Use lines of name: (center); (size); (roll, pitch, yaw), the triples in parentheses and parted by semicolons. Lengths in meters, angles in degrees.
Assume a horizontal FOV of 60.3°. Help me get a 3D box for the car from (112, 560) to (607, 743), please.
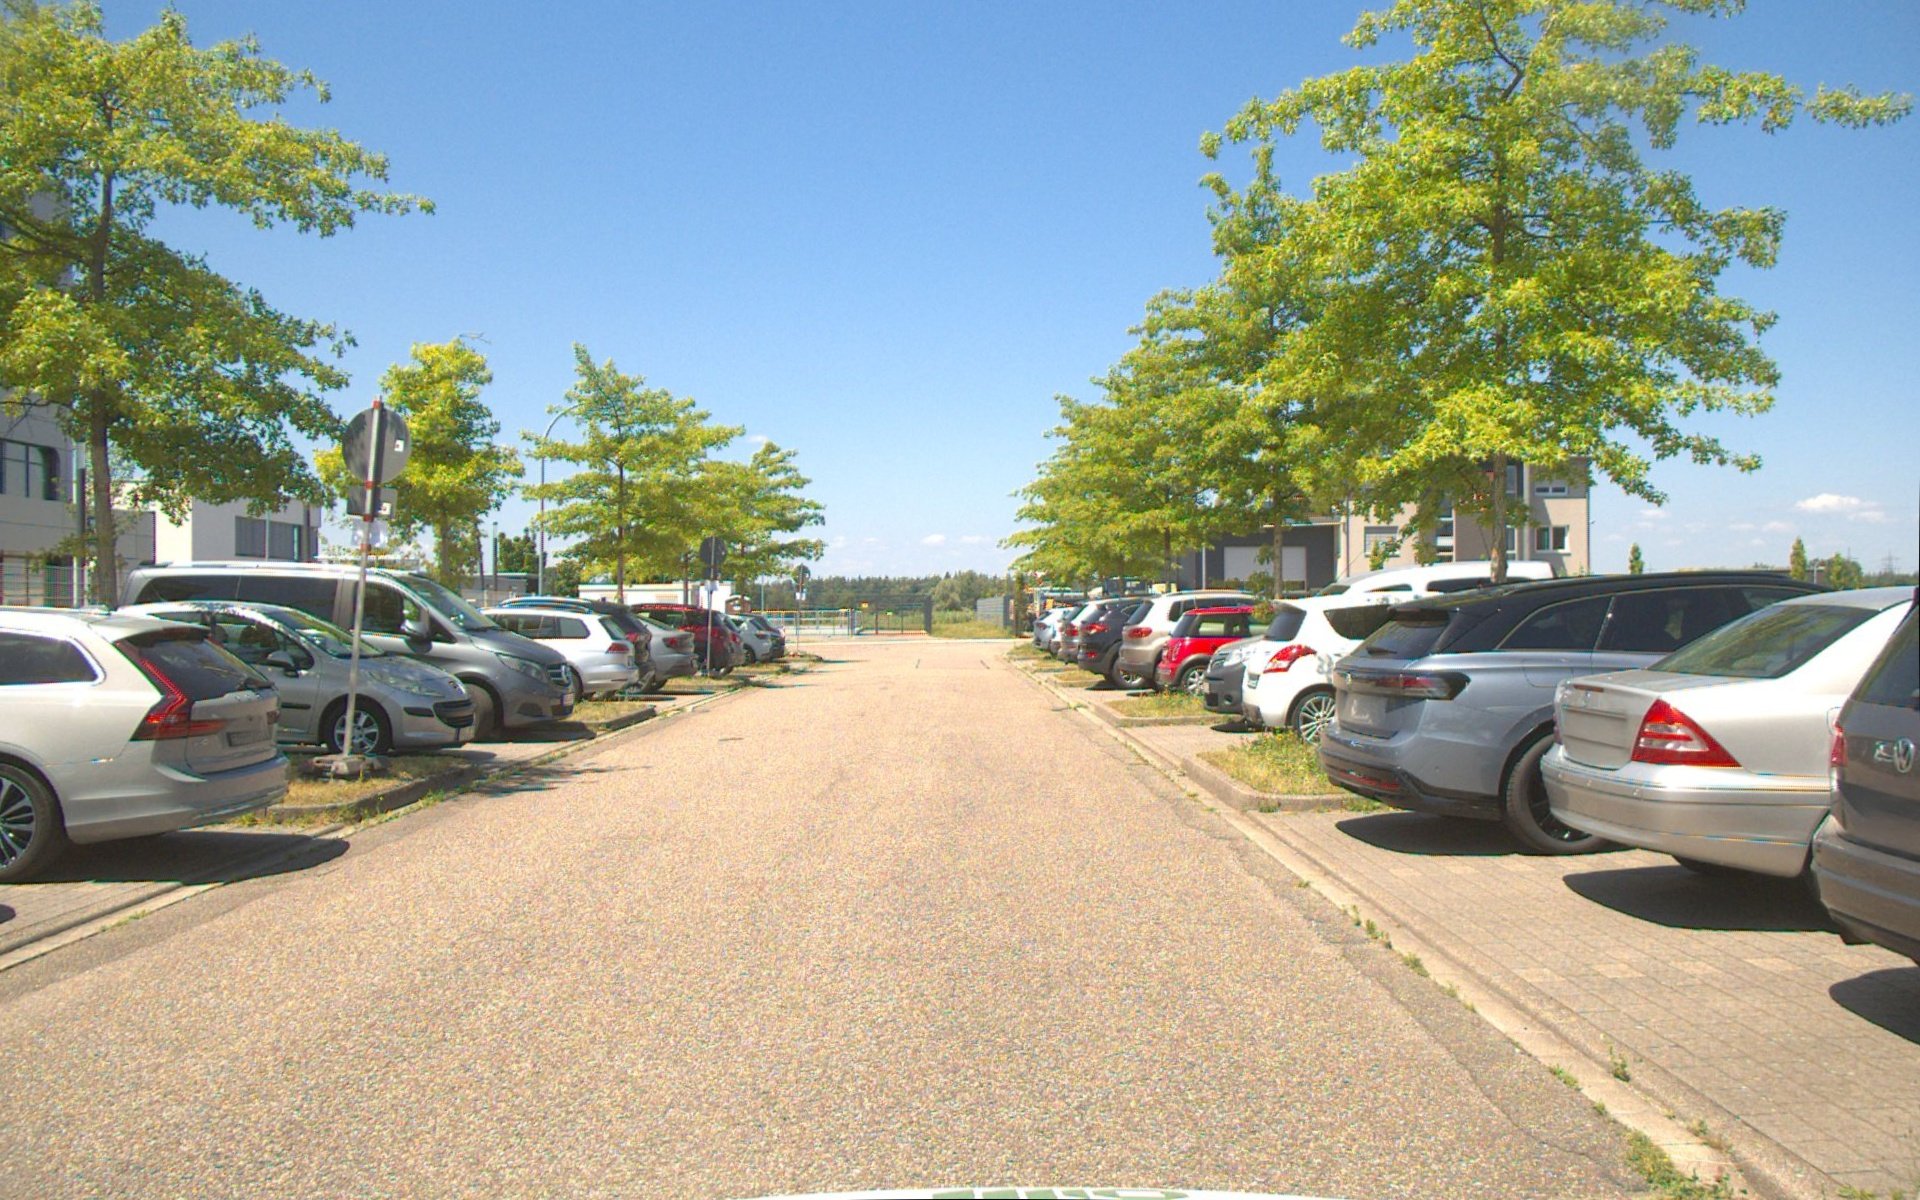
car: (-6.810, 0.567, 19.171); (4.965, 1.925, 1.997); (1, 0, 0)

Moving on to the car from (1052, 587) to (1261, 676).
car: (4.355, 0.689, 37.131); (4.360, 1.799, 1.992); (-2, 0, -3)

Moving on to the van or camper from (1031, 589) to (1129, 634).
van or camper: (6.125, 0.566, 84.823); (4.836, 2.201, 2.000); (-1, 1, -2)

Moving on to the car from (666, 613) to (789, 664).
car: (-7.096, 1.175, 50.791); (3.554, 1.461, 1.725); (2, -1, -4)

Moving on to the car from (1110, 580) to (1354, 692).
car: (4.565, 0.591, 28.118); (3.796, 1.707, 1.782); (-2, -1, -1)

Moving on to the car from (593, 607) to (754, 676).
car: (-6.743, 0.966, 39.221); (3.585, 1.535, 1.729); (1, -1, -5)

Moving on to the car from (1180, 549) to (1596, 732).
car: (4.856, 0.455, 19.210); (4.313, 1.862, 1.795); (-2, -1, 0)

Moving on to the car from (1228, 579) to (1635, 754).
car: (4.614, 0.637, 16.558); (3.557, 1.529, 1.676); (-2, -1, 0)

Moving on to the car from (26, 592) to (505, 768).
car: (-6.676, 0.744, 16.207); (3.888, 1.510, 1.763); (2, 0, -1)

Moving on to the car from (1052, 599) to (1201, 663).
car: (4.643, 0.877, 46.539); (3.985, 1.636, 1.901); (-2, -1, 0)

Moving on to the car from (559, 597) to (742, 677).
car: (-6.799, 0.811, 36.606); (3.661, 1.650, 1.816); (1, -1, 0)

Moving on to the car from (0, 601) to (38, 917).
car: (-6.638, 0.706, 7.180); (4.225, 1.499, 1.726); (1, 0, -3)

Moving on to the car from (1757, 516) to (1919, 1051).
car: (4.925, 0.496, 5.214); (3.964, 1.653, 1.693); (-2, 0, 0)

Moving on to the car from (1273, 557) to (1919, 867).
car: (4.482, 0.594, 10.237); (4.624, 1.588, 1.912); (-2, 0, -5)

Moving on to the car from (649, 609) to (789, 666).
car: (-7.024, 1.091, 48.491); (3.849, 1.547, 1.783); (2, -1, -4)

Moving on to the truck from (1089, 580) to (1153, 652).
truck: (9.370, 0.920, 96.942); (2.862, 3.998, 6.933); (-1, 0, -2)

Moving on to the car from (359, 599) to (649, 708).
car: (-6.854, 0.800, 25.177); (3.957, 1.486, 1.603); (2, -1, -4)

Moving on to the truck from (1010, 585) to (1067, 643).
truck: (4.359, 0.756, 92.802); (2.671, 3.115, 6.933); (-1, 0, -2)

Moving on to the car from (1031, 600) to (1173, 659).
car: (4.370, 0.916, 51.452); (4.192, 1.673, 1.850); (-2, -1, -1)

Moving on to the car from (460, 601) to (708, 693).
car: (-6.839, 0.844, 30.343); (4.108, 1.506, 1.712); (2, -1, -1)

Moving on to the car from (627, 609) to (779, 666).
car: (-7.109, 1.041, 46.094); (3.995, 1.449, 1.872); (2, -1, -5)

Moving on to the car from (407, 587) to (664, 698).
car: (-7.078, 0.707, 27.927); (3.910, 1.708, 1.775); (2, -1, -6)

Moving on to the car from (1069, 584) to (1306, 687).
car: (4.183, 0.649, 30.818); (4.089, 1.726, 1.781); (-2, -1, -2)

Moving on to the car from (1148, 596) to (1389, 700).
car: (4.763, 0.731, 25.896); (3.387, 1.442, 1.754); (-2, 0, -1)

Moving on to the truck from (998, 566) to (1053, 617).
truck: (3.896, -0.487, 100.121); (2.862, 2.989, 6.933); (-1, 0, -2)

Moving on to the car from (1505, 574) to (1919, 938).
car: (4.830, 0.605, 7.765); (3.964, 1.478, 1.645); (-2, 0, 0)

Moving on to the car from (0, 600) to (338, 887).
car: (-6.272, 0.734, 9.567); (4.620, 1.472, 1.856); (1, 0, -4)
